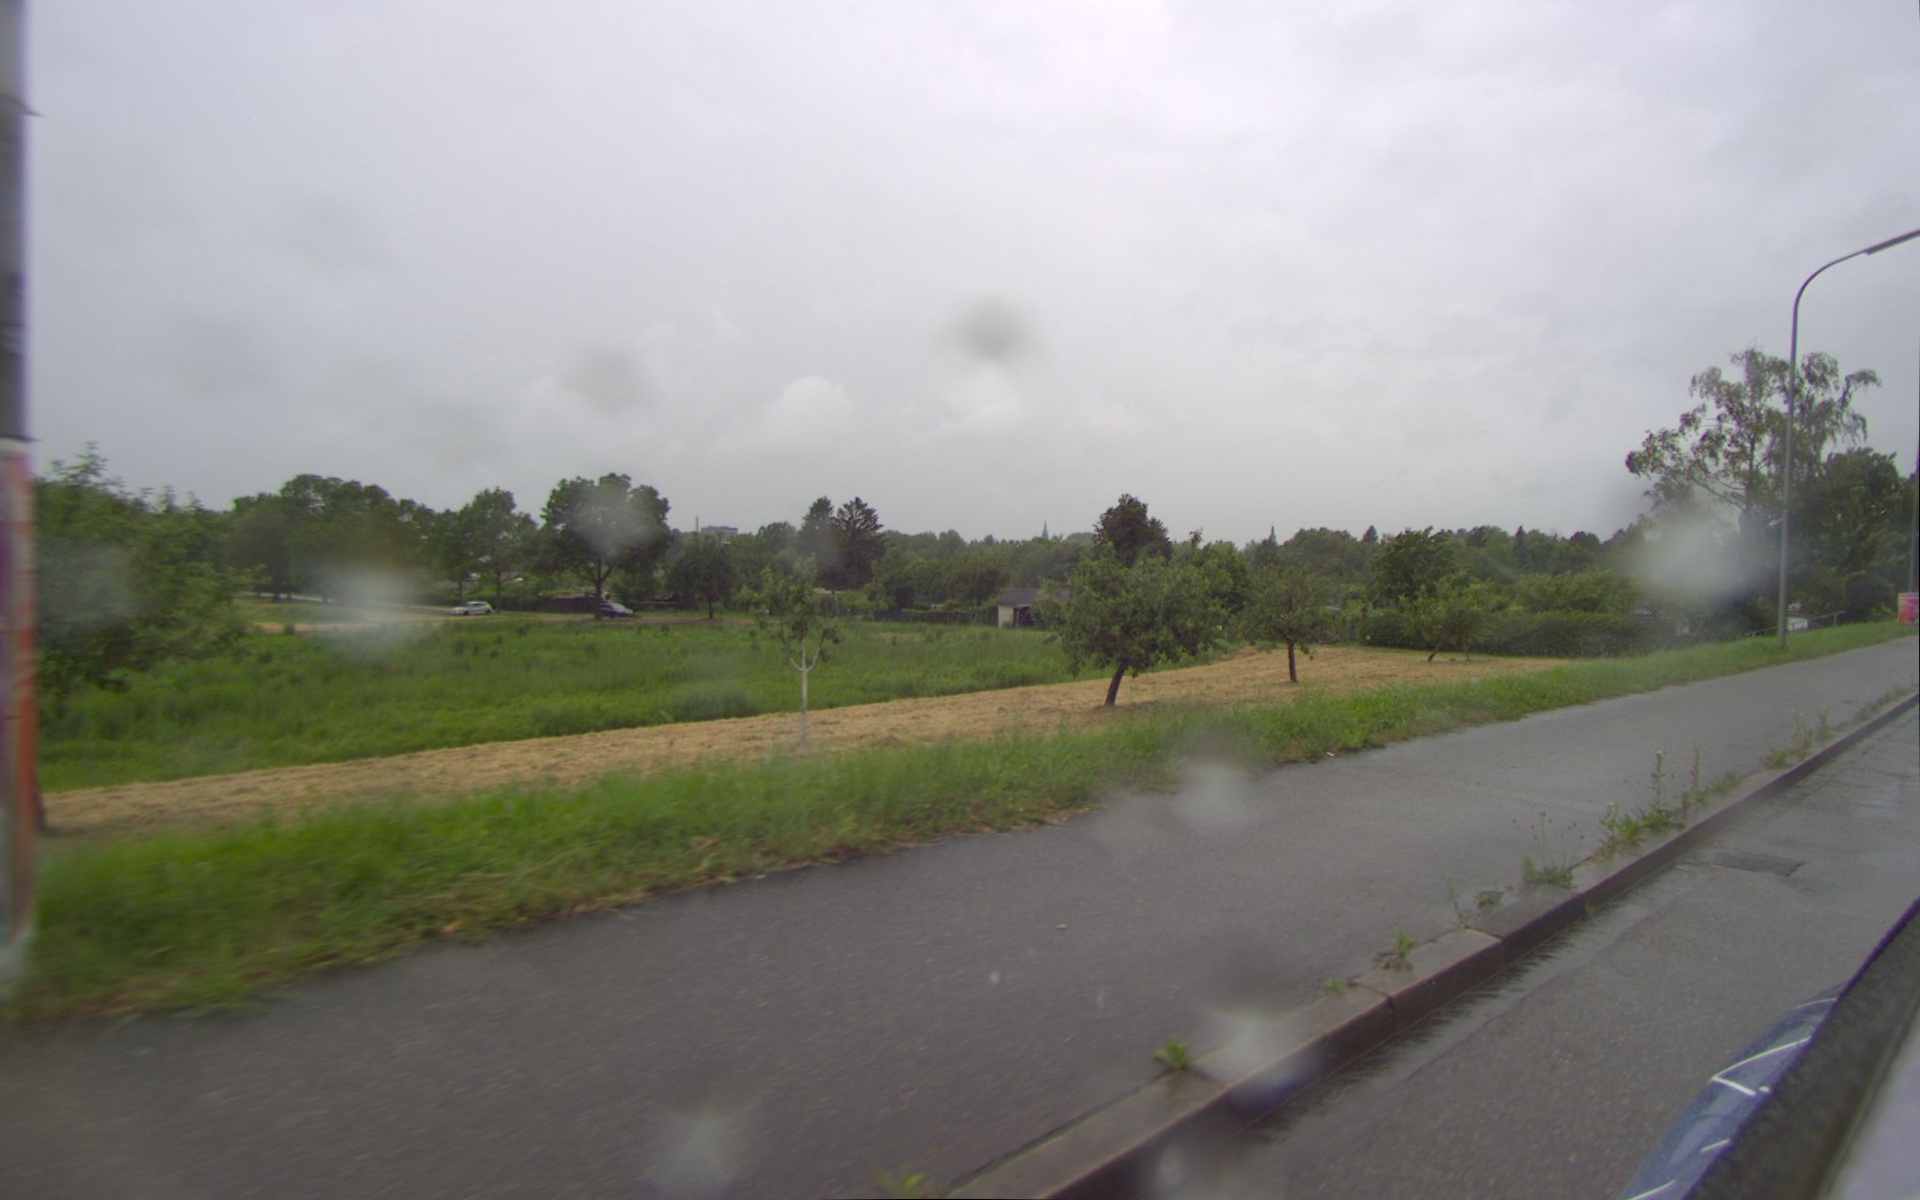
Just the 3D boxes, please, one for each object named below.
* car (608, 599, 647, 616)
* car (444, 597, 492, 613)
[{"bbox_3d":[-30.878,0.683,93.972,3.985,1.529,1.773,1,2,42],"label":"car"},{"bbox_3d":[-49.645,0.536,102.147,1.785,1.529,4.121,0,1,30],"label":"car"}]
